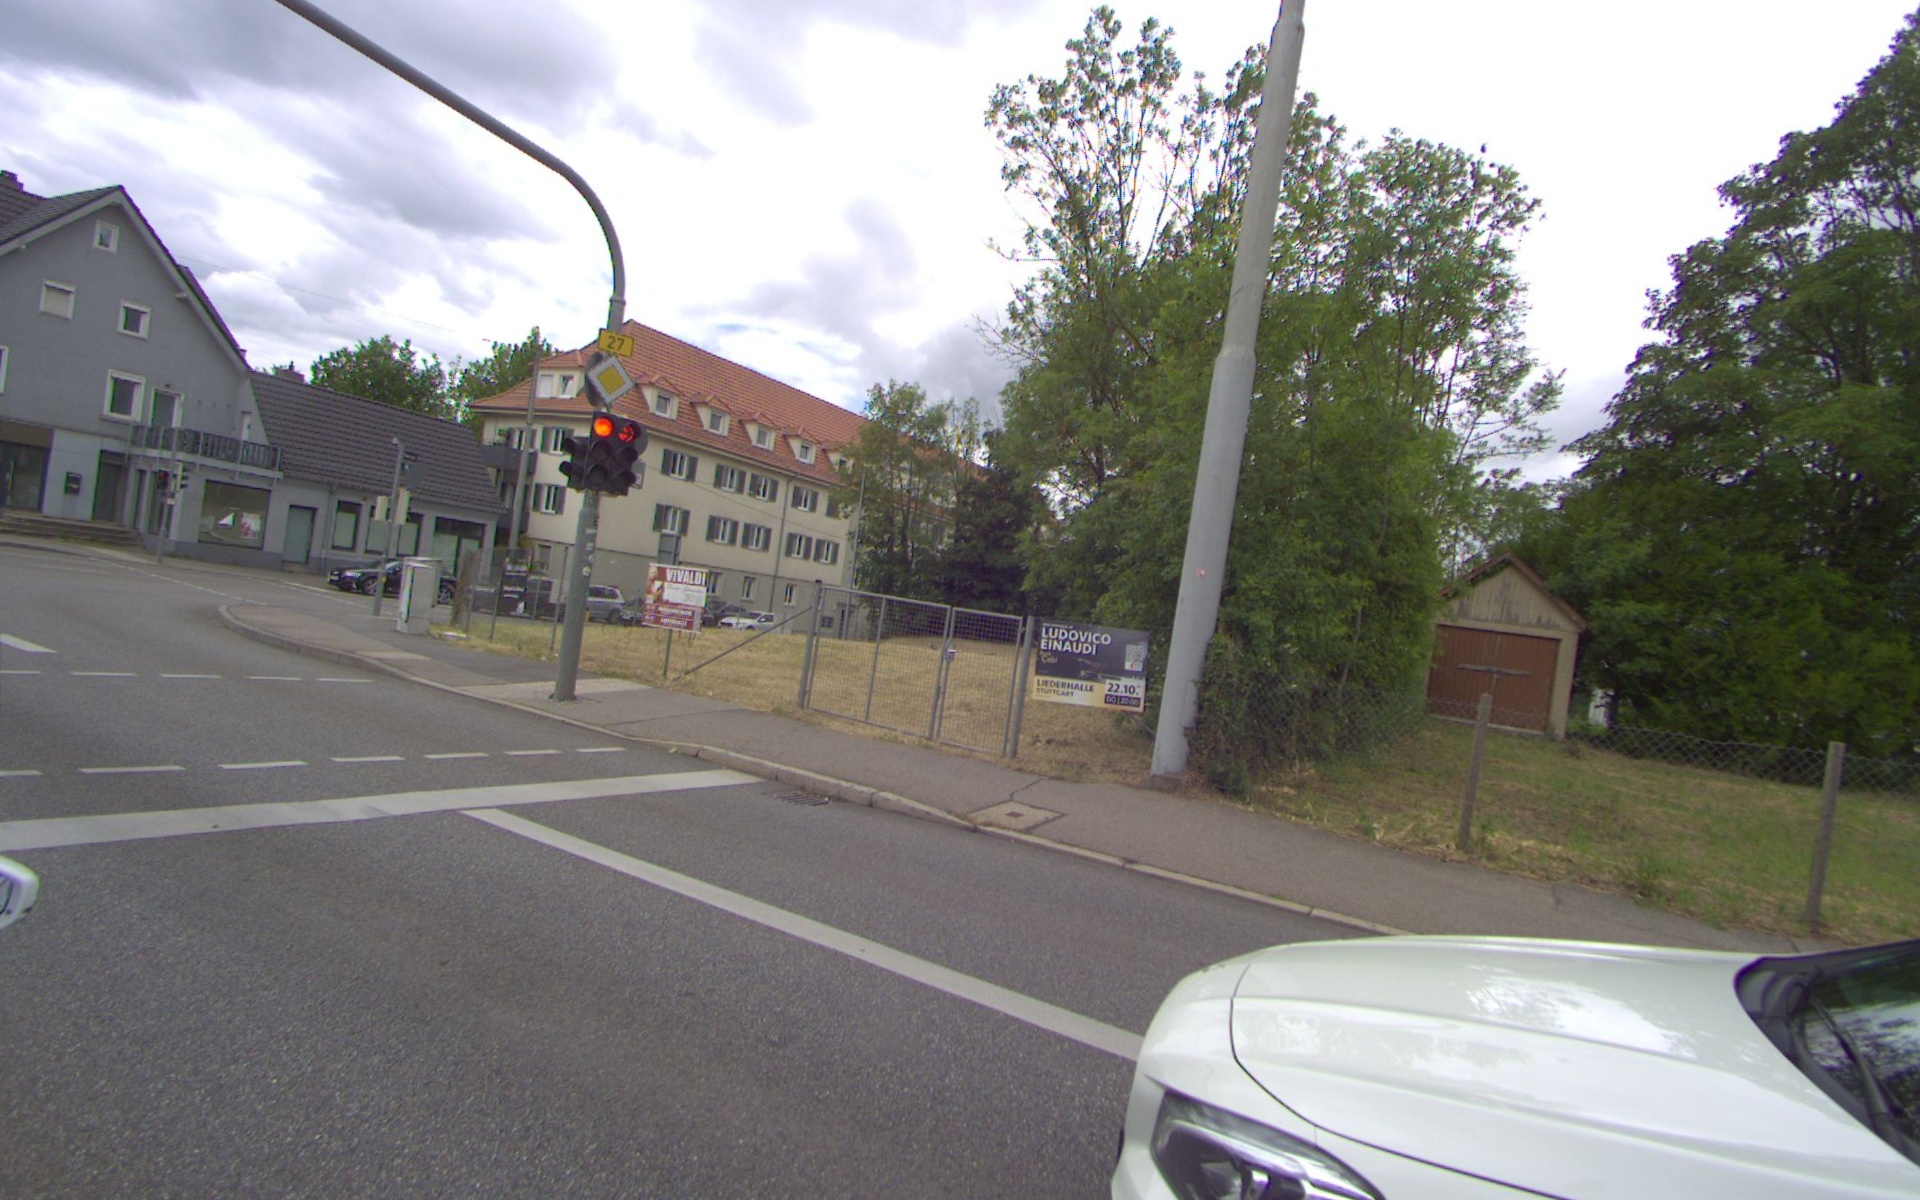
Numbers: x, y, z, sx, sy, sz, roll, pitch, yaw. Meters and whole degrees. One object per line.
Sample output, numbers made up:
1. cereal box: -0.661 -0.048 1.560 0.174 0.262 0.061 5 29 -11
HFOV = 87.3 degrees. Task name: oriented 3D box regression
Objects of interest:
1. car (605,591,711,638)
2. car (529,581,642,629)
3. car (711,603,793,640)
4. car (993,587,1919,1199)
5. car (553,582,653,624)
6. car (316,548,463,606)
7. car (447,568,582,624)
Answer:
1. car: -12.782 0.639 42.748 1.769 1.386 4.099 7 -3 30
2. car: -15.551 0.228 41.946 1.769 1.386 4.099 7 -3 30
3. car: -10.714 1.142 52.104 1.769 1.386 4.099 7 -3 30
4. car: 2.551 1.095 1.288 4.692 1.522 1.872 8 -2 31
5. car: -16.589 0.167 46.937 1.769 1.386 4.099 7 -3 30
6. car: -20.174 -0.781 35.743 1.769 1.386 4.099 7 -3 30
7. car: -16.029 -0.105 36.393 1.769 1.386 4.099 7 -3 30
